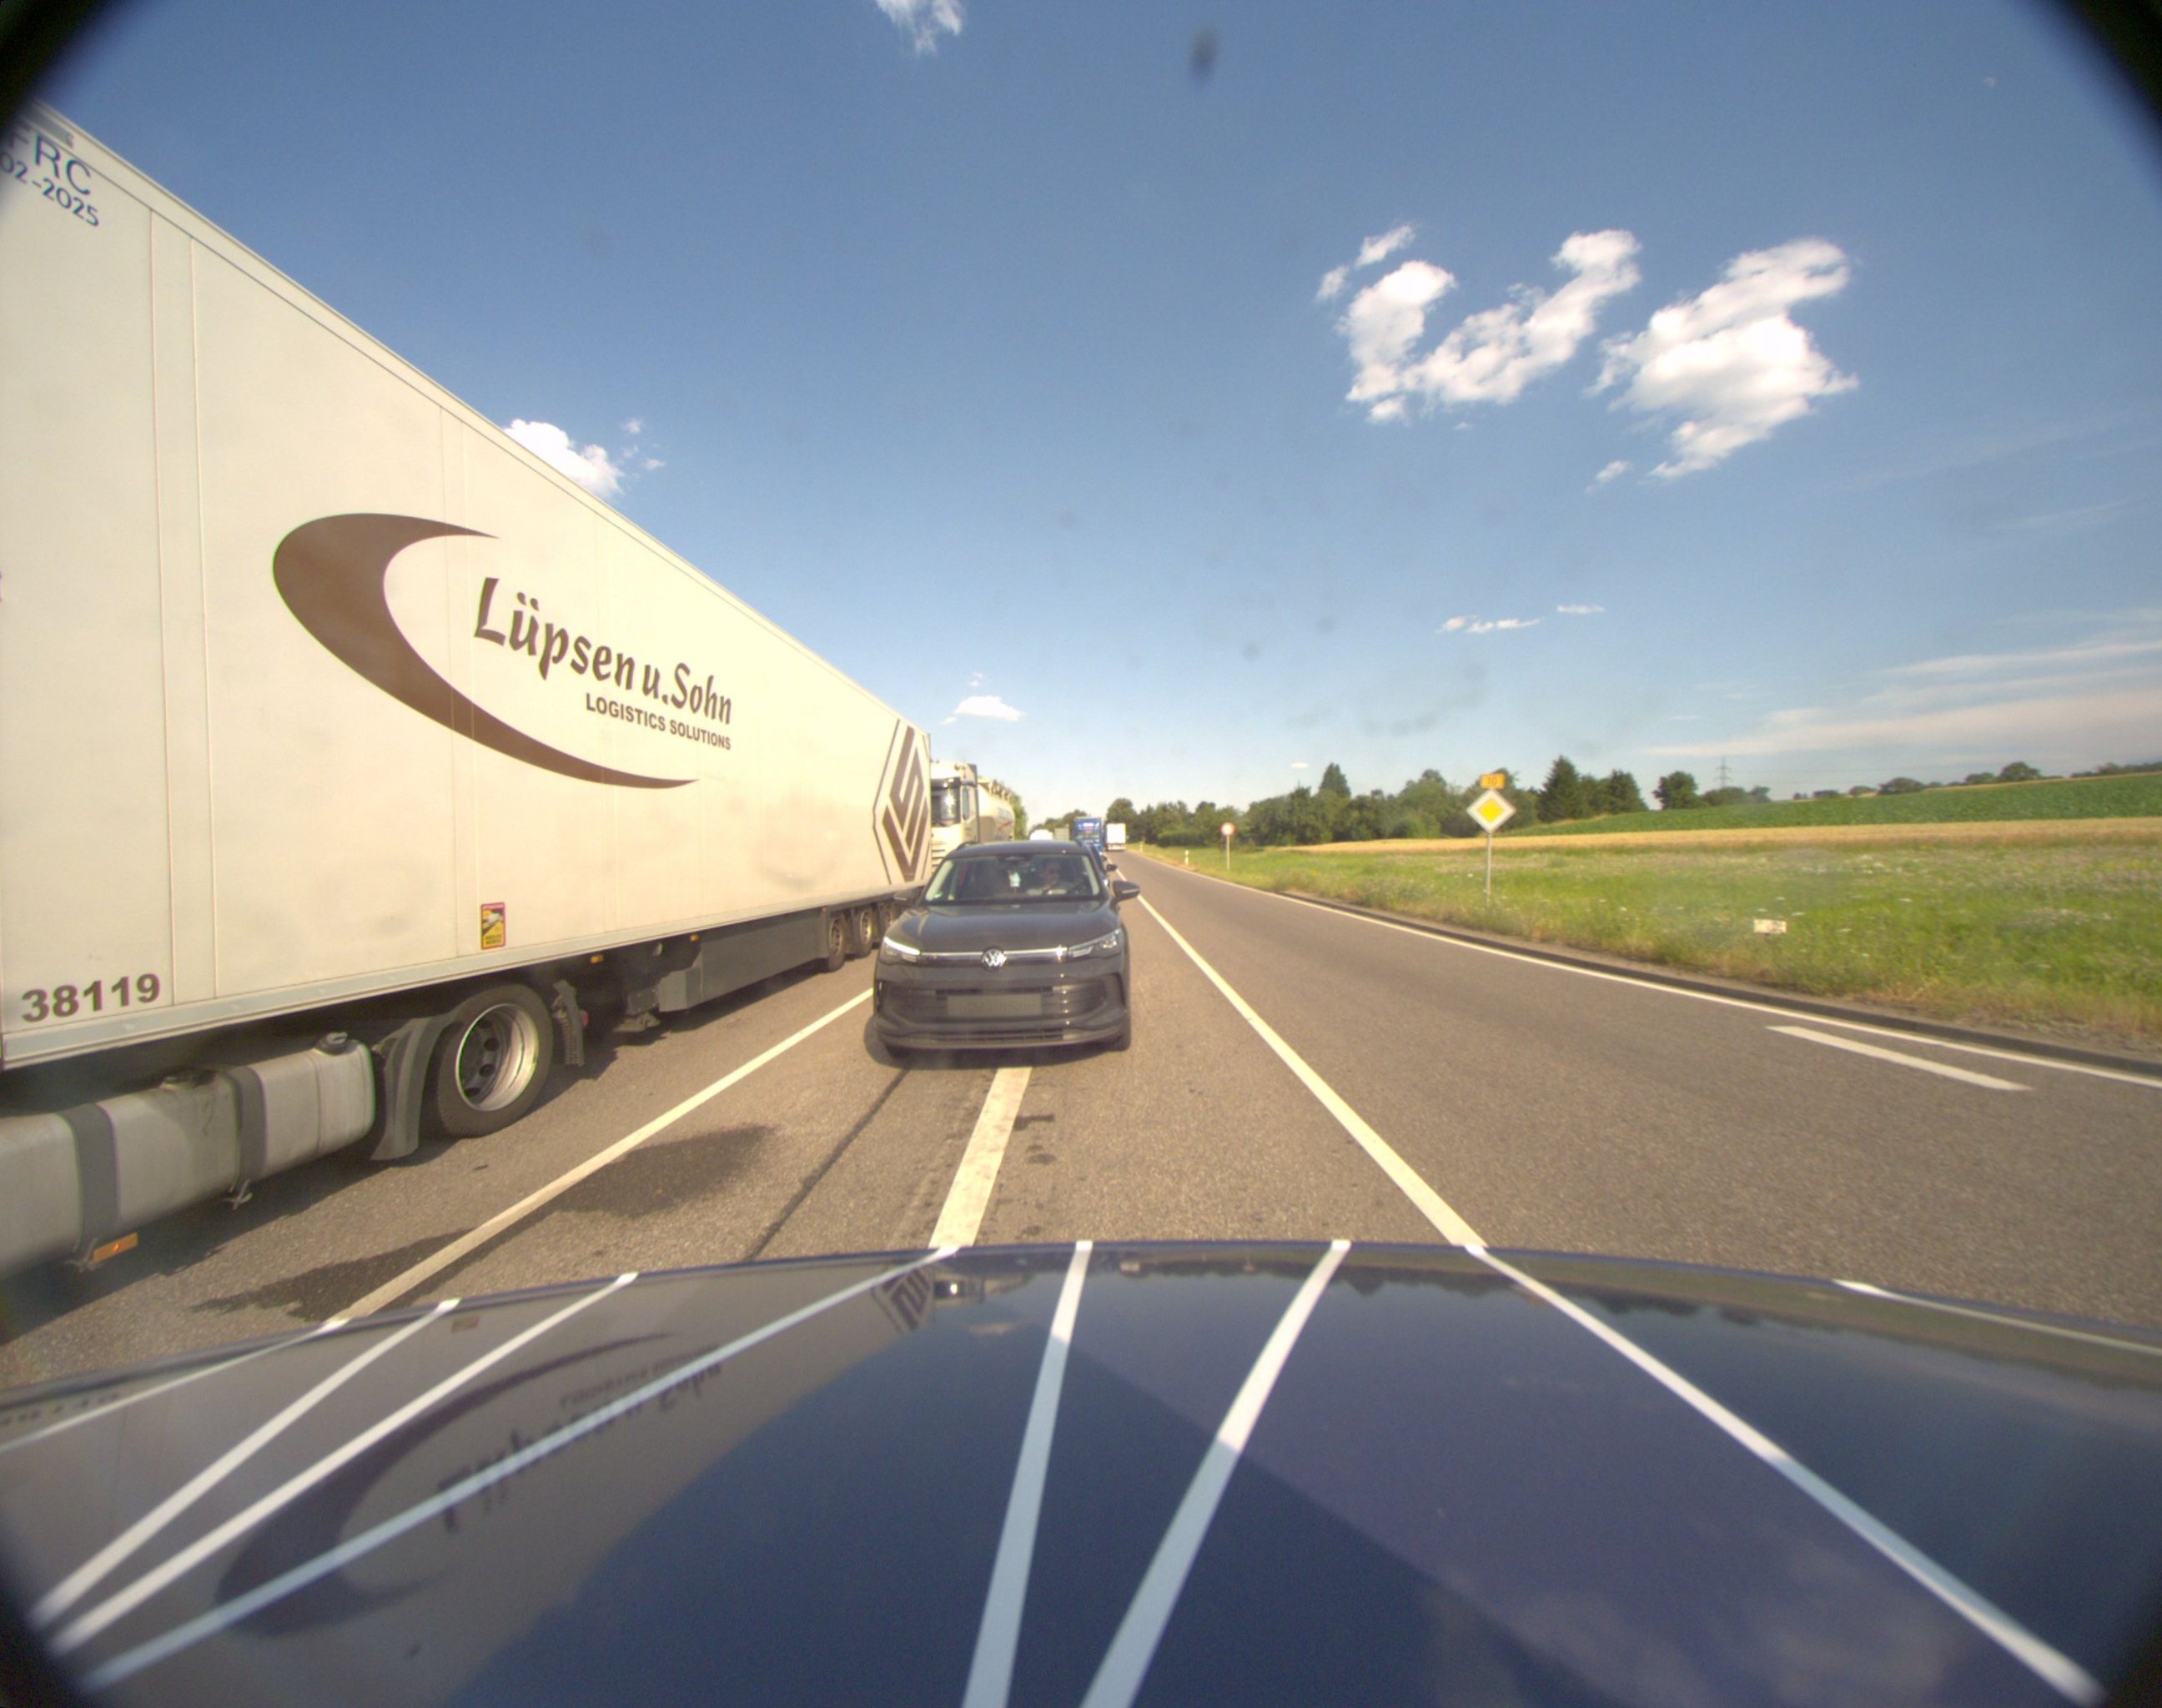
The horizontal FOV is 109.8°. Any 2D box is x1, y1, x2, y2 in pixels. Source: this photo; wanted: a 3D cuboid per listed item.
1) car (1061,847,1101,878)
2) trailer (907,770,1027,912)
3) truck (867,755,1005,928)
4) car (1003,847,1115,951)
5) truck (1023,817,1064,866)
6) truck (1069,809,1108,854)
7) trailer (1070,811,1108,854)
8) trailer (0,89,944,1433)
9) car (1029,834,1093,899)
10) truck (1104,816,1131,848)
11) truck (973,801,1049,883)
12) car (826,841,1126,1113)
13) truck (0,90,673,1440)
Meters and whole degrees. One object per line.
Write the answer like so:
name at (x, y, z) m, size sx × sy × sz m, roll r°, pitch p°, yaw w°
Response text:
car at (0.038, 0.424, 40.791) m, size 1.998 × 1.477 × 3.999 m, roll -2°, pitch 1°, yaw 1°
trailer at (-3.439, -0.411, 25.479) m, size 2.264 × 3.756 × 9.523 m, roll -3°, pitch 1°, yaw 1°
truck at (-3.520, -0.325, 19.777) m, size 2.261 × 3.783 × 5.685 m, roll -2°, pitch 1°, yaw 1°
car at (-0.270, 0.711, 14.720) m, size 1.774 × 1.604 × 4.547 m, roll -2°, pitch 1°, yaw 2°
truck at (-3.092, -1.121, 66.501) m, size 2.528 × 3.752 × 12.897 m, roll -2°, pitch 1°, yaw 1°
truck at (0.743, -2.069, 72.310) m, size 3.373 × 3.982 × 5.600 m, roll -2°, pitch 1°, yaw 1°
trailer at (0.830, -2.191, 79.114) m, size 3.416 × 3.982 × 13.747 m, roll -2°, pitch 1°, yaw 1°
trailer at (-4.376, -0.342, 8.869) m, size 2.538 × 4.043 × 14.335 m, roll -2°, pitch 1°, yaw 1°
car at (-0.596, 0.363, 26.106) m, size 1.907 × 1.936 × 4.371 m, roll -3°, pitch 1°, yaw 1°
truck at (5.370, -3.182, 113.011) m, size 3.449 × 4.471 × 9.485 m, roll -2°, pitch 1°, yaw 1°
truck at (-3.512, -0.674, 41.788) m, size 2.528 × 3.752 × 12.897 m, roll -2°, pitch 1°, yaw 1°
car at (-0.517, 0.735, 6.917) m, size 1.787 × 1.620 × 4.469 m, roll -2°, pitch 1°, yaw 4°
truck at (-4.476, -0.263, 2.297) m, size 2.538 × 4.020 × 6.661 m, roll -2°, pitch 1°, yaw 2°
